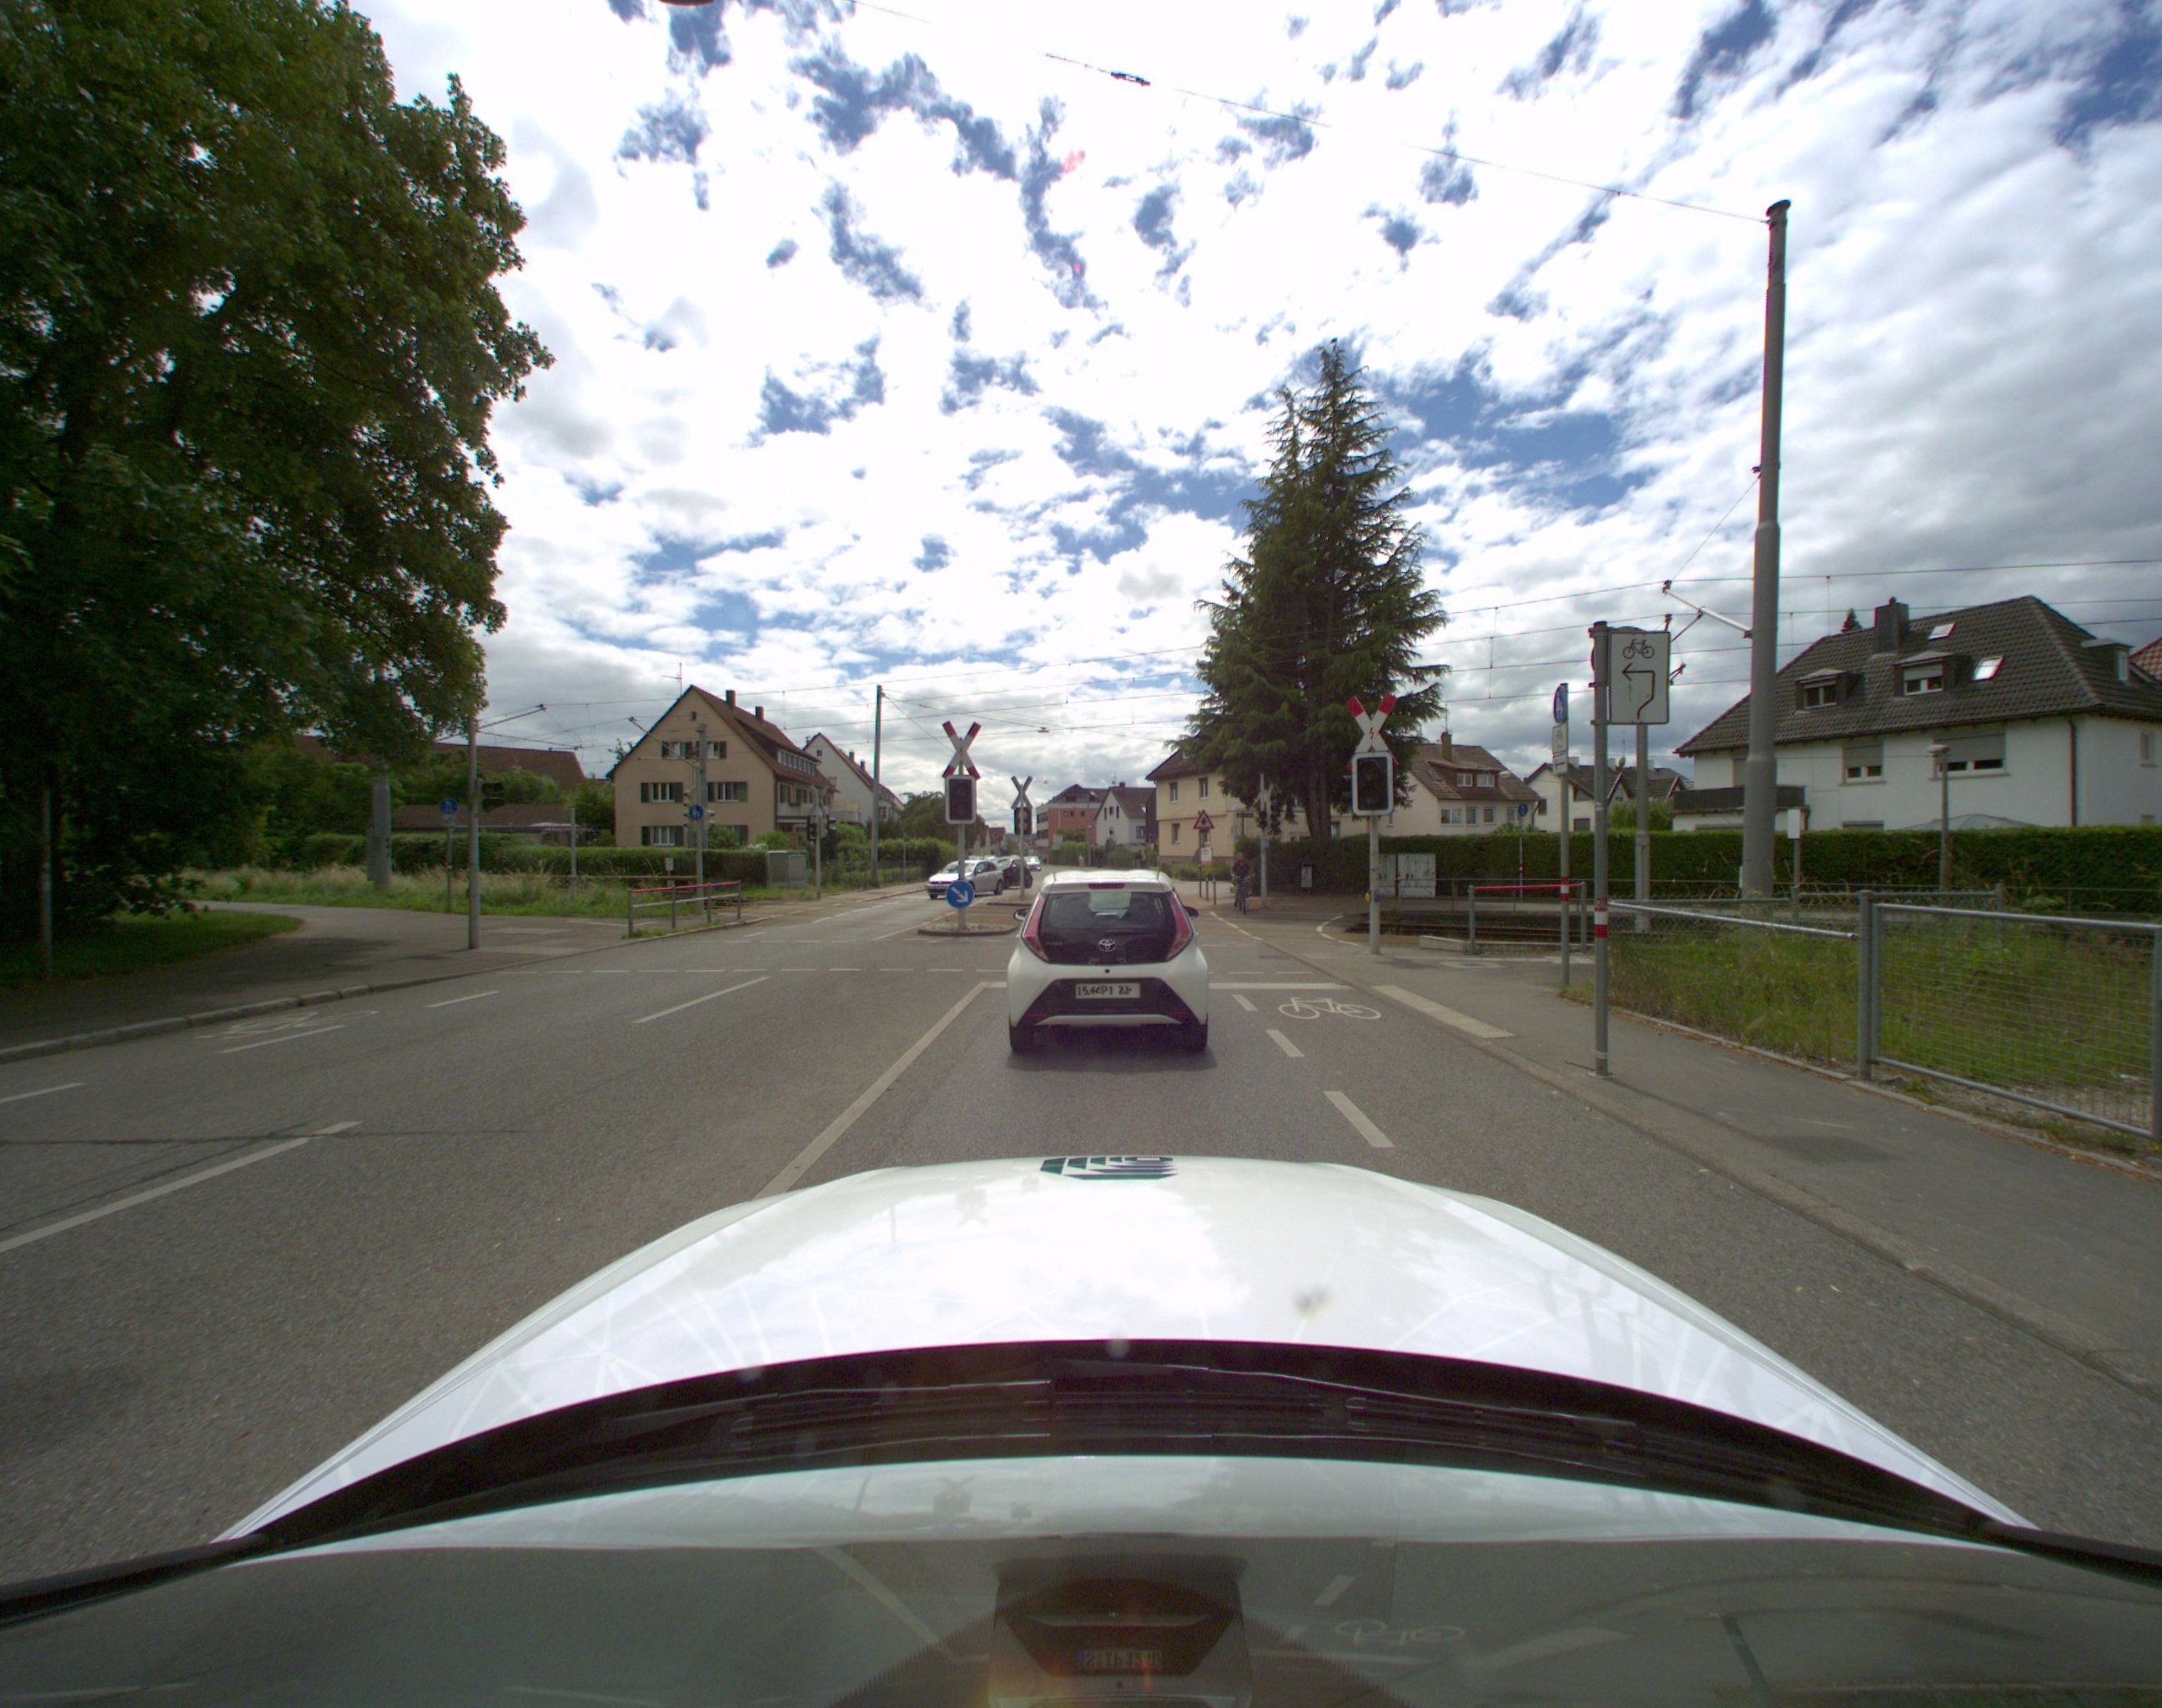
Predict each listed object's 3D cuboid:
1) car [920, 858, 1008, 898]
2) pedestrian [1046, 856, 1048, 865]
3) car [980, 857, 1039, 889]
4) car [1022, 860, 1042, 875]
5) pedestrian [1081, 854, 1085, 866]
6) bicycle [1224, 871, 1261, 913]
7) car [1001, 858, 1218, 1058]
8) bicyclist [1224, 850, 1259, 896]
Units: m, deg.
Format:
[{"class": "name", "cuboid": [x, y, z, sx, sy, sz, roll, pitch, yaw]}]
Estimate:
[{"class": "car", "cuboid": [-4.599, 0.923, 32.632, 1.674, 1.458, 4.090, -1, 0, 21]}, {"class": "pedestrian", "cuboid": [-5.697, 1.071, 136.711, 0.413, 1.438, 0.436, 0, 0, -8]}, {"class": "car", "cuboid": [-3.501, 0.902, 40.359, 1.560, 1.510, 2.805, 0, 0, 31]}, {"class": "car", "cuboid": [-5.241, 1.384, 85.847, 1.774, 1.561, 4.157, 0, 0, -8]}, {"class": "pedestrian", "cuboid": [0.263, 0.737, 103.174, 0.439, 1.438, 0.410, 0, 0, -34]}, {"class": "bicycle", "cuboid": [4.714, 1.103, 23.873, 0.926, 1.040, 1.920, -2, 2, 9]}, {"class": "car", "cuboid": [0.279, 0.811, 8.156, 1.615, 1.486, 4.001, -1, -1, 2]}, {"class": "bicyclist", "cuboid": [4.695, 0.550, 23.882, 0.926, 1.247, 1.105, -2, 2, 9]}]
